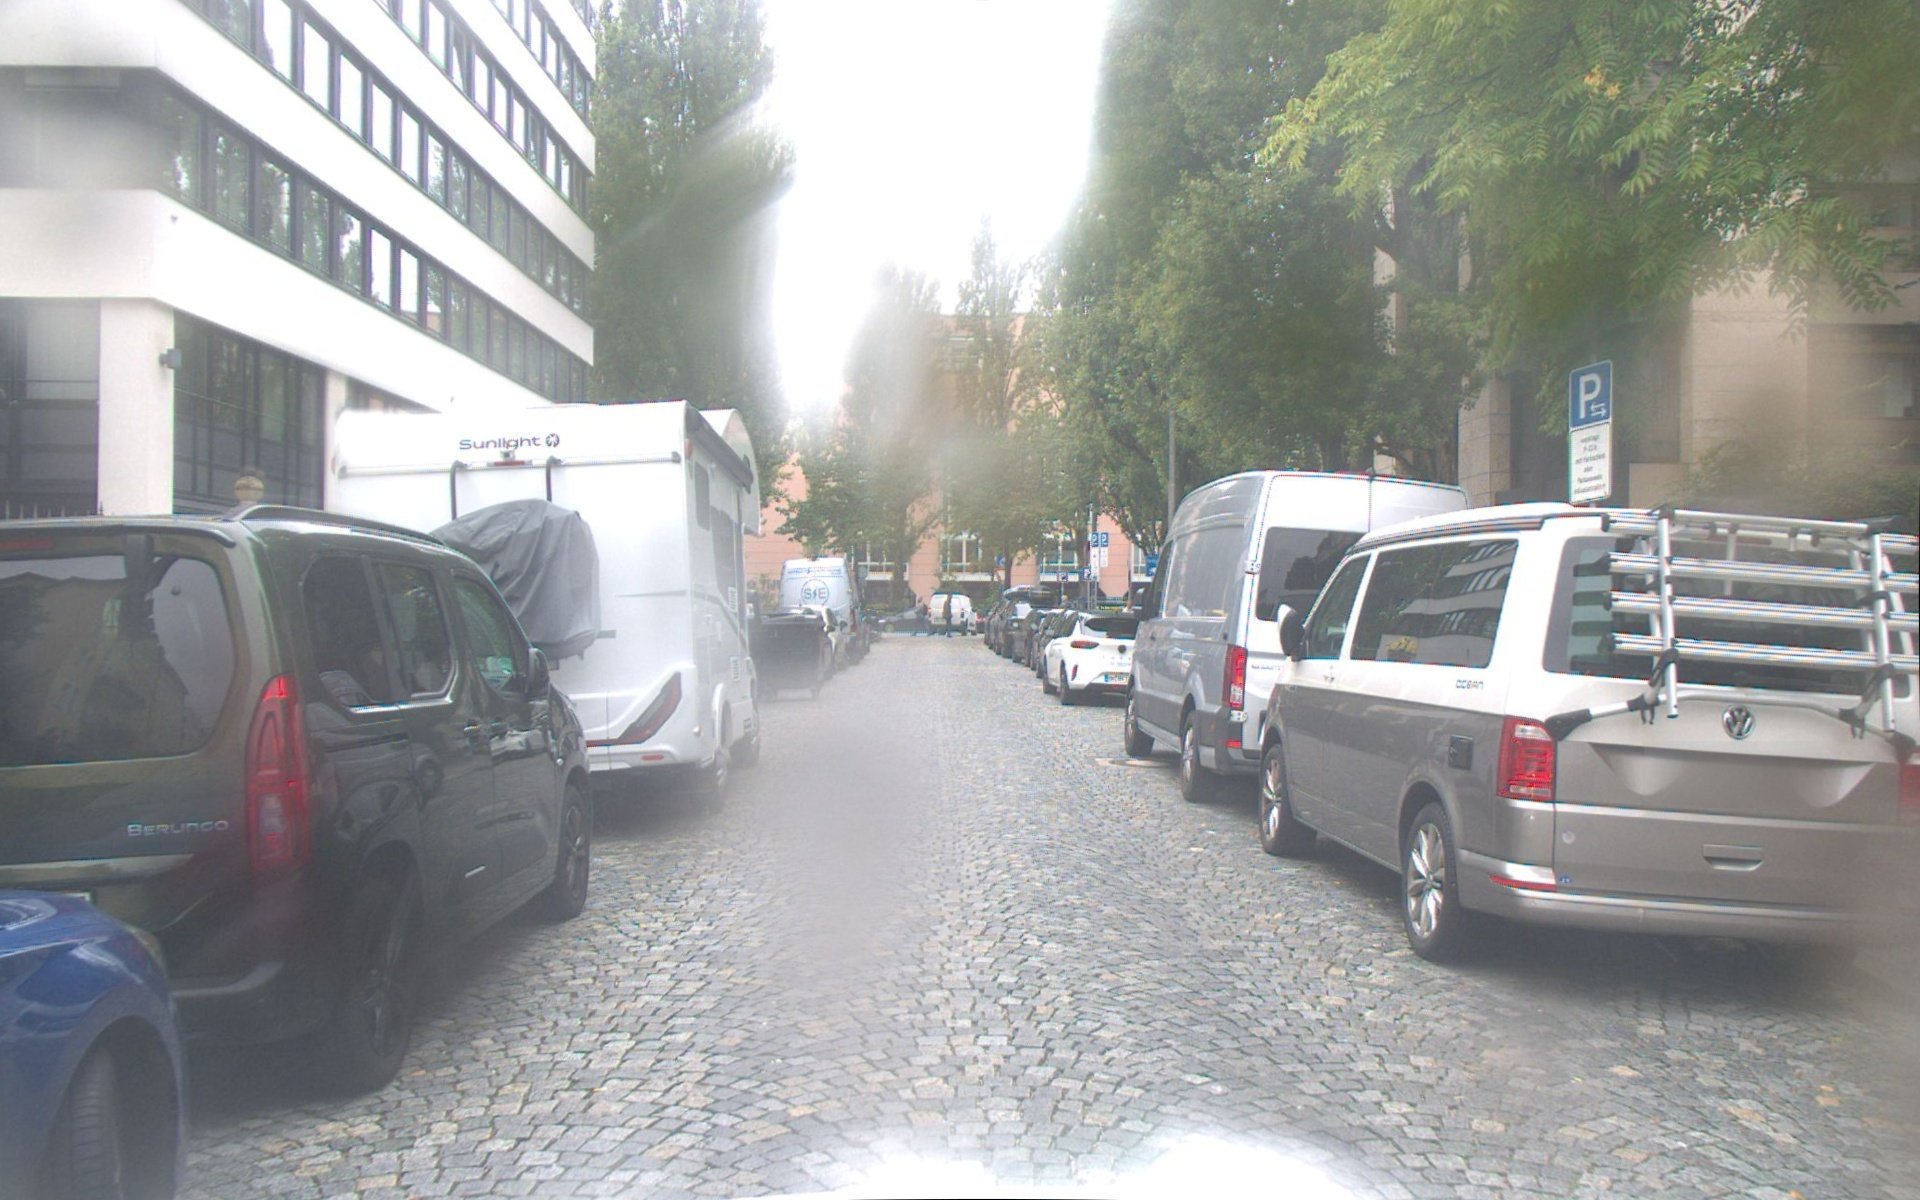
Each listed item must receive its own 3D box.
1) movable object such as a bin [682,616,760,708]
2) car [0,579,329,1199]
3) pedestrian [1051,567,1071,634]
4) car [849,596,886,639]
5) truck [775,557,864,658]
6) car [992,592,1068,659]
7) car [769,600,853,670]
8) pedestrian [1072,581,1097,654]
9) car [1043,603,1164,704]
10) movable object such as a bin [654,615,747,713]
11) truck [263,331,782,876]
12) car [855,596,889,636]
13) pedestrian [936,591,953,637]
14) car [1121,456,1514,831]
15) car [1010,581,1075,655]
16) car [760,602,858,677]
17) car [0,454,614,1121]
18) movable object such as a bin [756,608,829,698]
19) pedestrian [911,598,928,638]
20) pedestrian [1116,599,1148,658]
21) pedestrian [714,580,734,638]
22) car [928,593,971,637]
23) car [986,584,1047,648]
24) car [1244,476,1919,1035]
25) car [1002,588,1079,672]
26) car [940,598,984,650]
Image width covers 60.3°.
[{"bbox_3d":[-3.724,0.952,25.859,1.051,1.387,1.272,1,-1,-2],"label":"movable object such as a bin"},{"bbox_3d":[-2.347,0.691,1.747,1.901,1.485,4.056,1,-1,-2],"label":"car"},{"bbox_3d":[3.723,0.009,61.101,0.697,2.468,0.813,0,0,0],"label":"pedestrian"},{"bbox_3d":[-3.458,0.645,62.401,1.264,1.567,3.118,1,-1,-1],"label":"car"},{"bbox_3d":[-3.511,0.205,41.855,1.953,2.388,4.067,1,-1,-1],"label":"truck"},{"bbox_3d":[1.756,0.646,42.353,1.830,1.633,3.272,0,-1,0],"label":"car"},{"bbox_3d":[-3.326,0.774,37.360,1.628,1.481,3.546,1,-1,-1],"label":"car"},{"bbox_3d":[3.831,0.528,51.001,0.697,2.230,0.813,1,-1,0],"label":"pedestrian"},{"bbox_3d":[2.267,0.830,26.860,1.567,1.512,3.478,1,-1,-2],"label":"car"},{"bbox_3d":[-3.774,0.920,24.169,1.209,1.387,1.110,0,0,-1],"label":"movable object such as a bin"},{"bbox_3d":[-2.866,0.003,12.763,2.458,3.085,6.382,-2,0,-2],"label":"truck"},{"bbox_3d":[-3.579,0.654,67.283,1.251,1.568,3.118,1,-1,-1],"label":"car"},{"bbox_3d":[-0.672,0.613,70.930,0.710,1.944,0.641,1,-1,0],"label":"pedestrian"},{"bbox_3d":[2.751,0.289,14.246,1.857,2.468,5.609,4,0,-2],"label":"car"},{"bbox_3d":[2.368,0.527,48.210,1.707,2.067,3.865,0,-1,0],"label":"car"},{"bbox_3d":[-2.868,0.752,32.076,1.628,1.352,3.546,1,-1,-1],"label":"car"},{"bbox_3d":[-2.643,0.505,6.512,1.856,1.781,4.165,-1,0,-3],"label":"car"},{"bbox_3d":[-2.665,0.832,26.501,1.042,1.387,1.289,1,-1,-1],"label":"movable object such as a bin"},{"bbox_3d":[-1.780,0.775,72.291,0.674,1.716,0.499,1,-1,-7],"label":"pedestrian"},{"bbox_3d":[5.170,0.852,49.724,0.776,1.750,0.854,1,-1,-6],"label":"pedestrian"},{"bbox_3d":[-7.900,0.309,55.428,0.590,1.911,0.548,1,-1,-1],"label":"pedestrian"},{"bbox_3d":[-0.464,0.697,76.688,1.955,1.970,4.000,0,-1,0],"label":"car"},{"bbox_3d":[1.778,0.519,53.273,1.830,1.995,4.000,0,-1,0],"label":"car"},{"bbox_3d":[2.878,0.608,8.547,1.764,1.983,4.858,3,-1,-2],"label":"car"},{"bbox_3d":[1.710,0.637,35.728,1.441,1.735,3.118,1,-1,-1],"label":"car"},{"bbox_3d":[0.042,0.819,56.603,1.441,1.735,3.118,1,-1,-1],"label":"car"}]
